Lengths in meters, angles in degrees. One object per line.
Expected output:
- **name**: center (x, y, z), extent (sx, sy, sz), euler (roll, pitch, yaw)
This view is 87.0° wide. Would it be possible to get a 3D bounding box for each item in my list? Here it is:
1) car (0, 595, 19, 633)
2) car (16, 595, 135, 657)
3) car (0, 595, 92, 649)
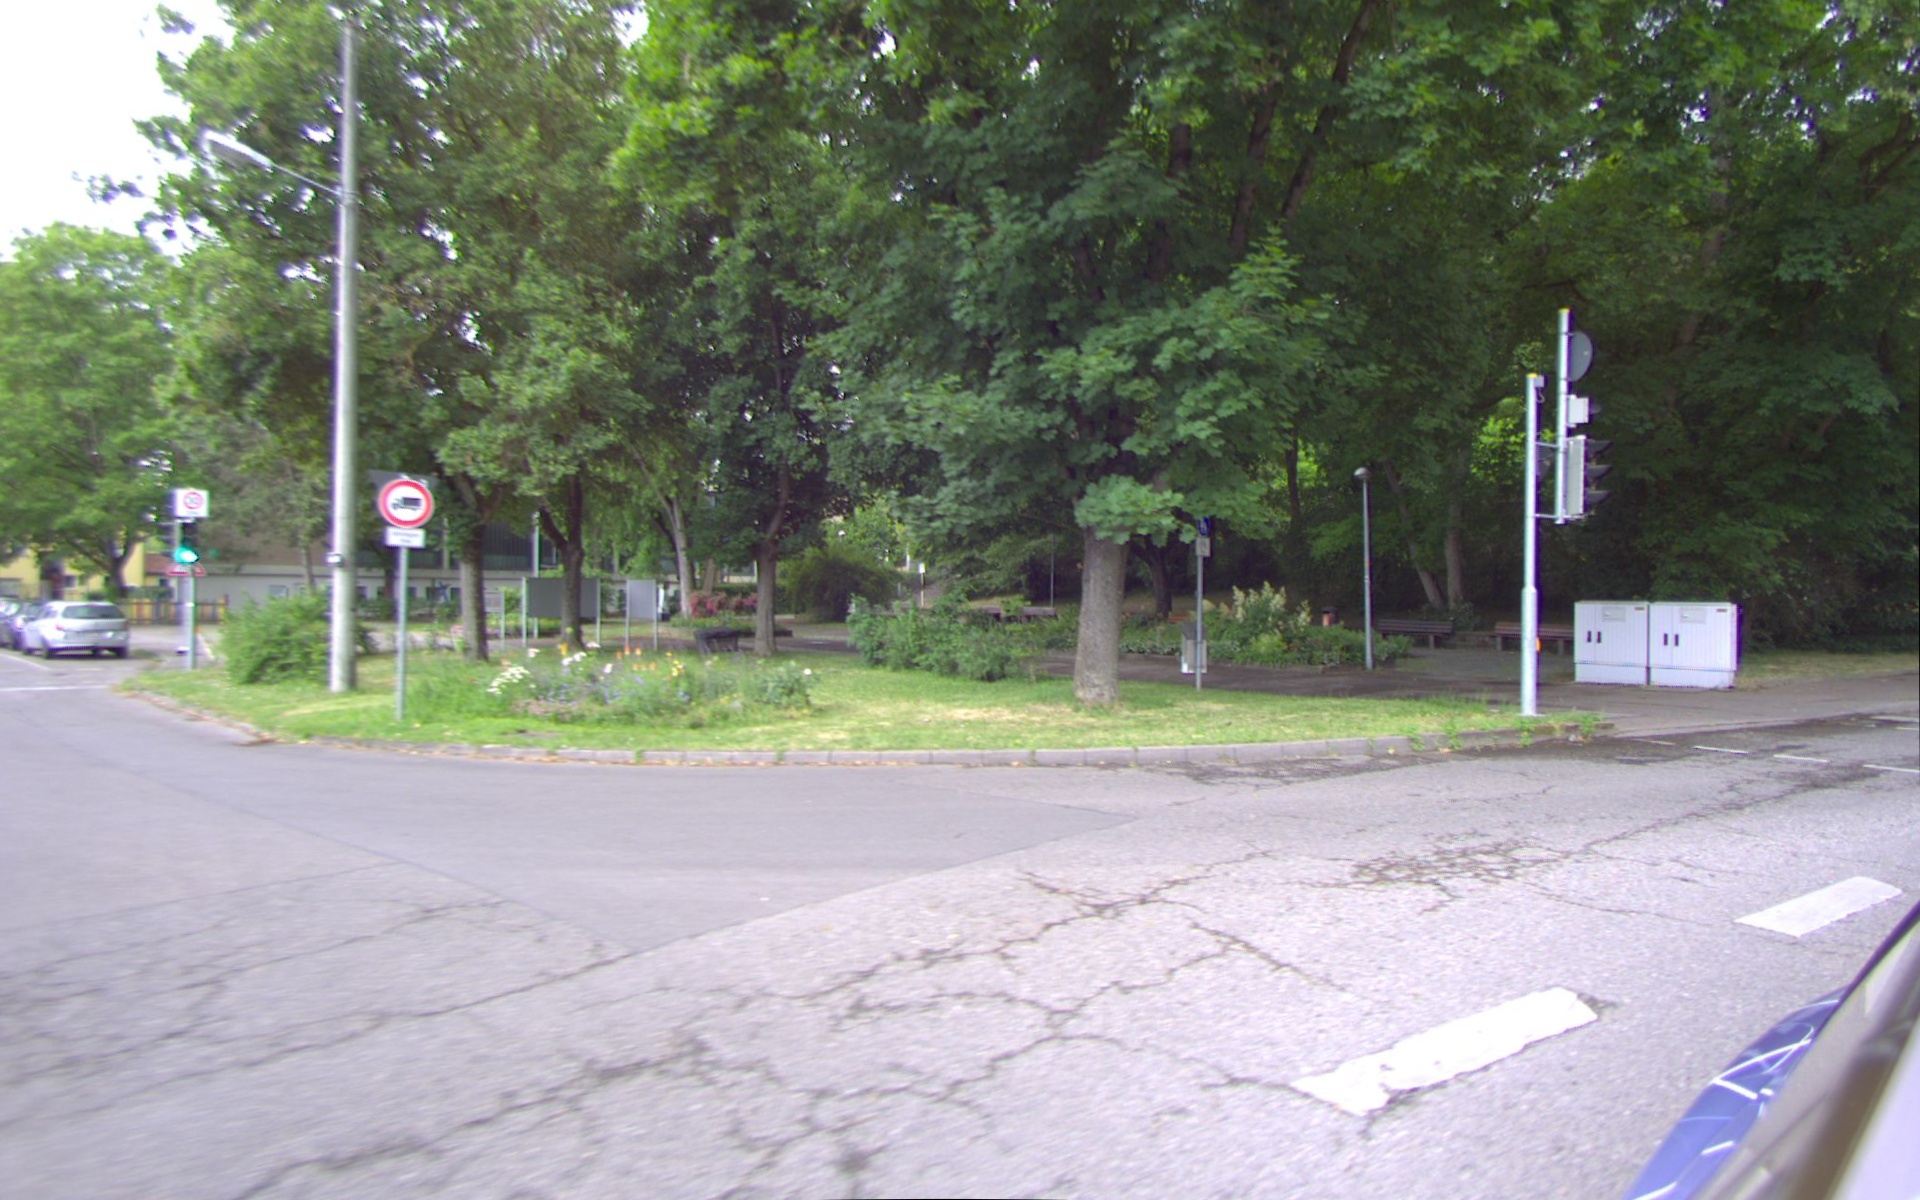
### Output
- **car**: center (-40.267, 0.579, 41.600), extent (4.383, 1.474, 1.896), euler (1, 1, 41)
- **car**: center (-23.864, 0.634, 27.250), extent (4.527, 1.474, 1.872), euler (1, 1, 41)
- **car**: center (-27.966, 0.612, 30.824), extent (3.941, 1.474, 1.775), euler (1, 1, 41)
